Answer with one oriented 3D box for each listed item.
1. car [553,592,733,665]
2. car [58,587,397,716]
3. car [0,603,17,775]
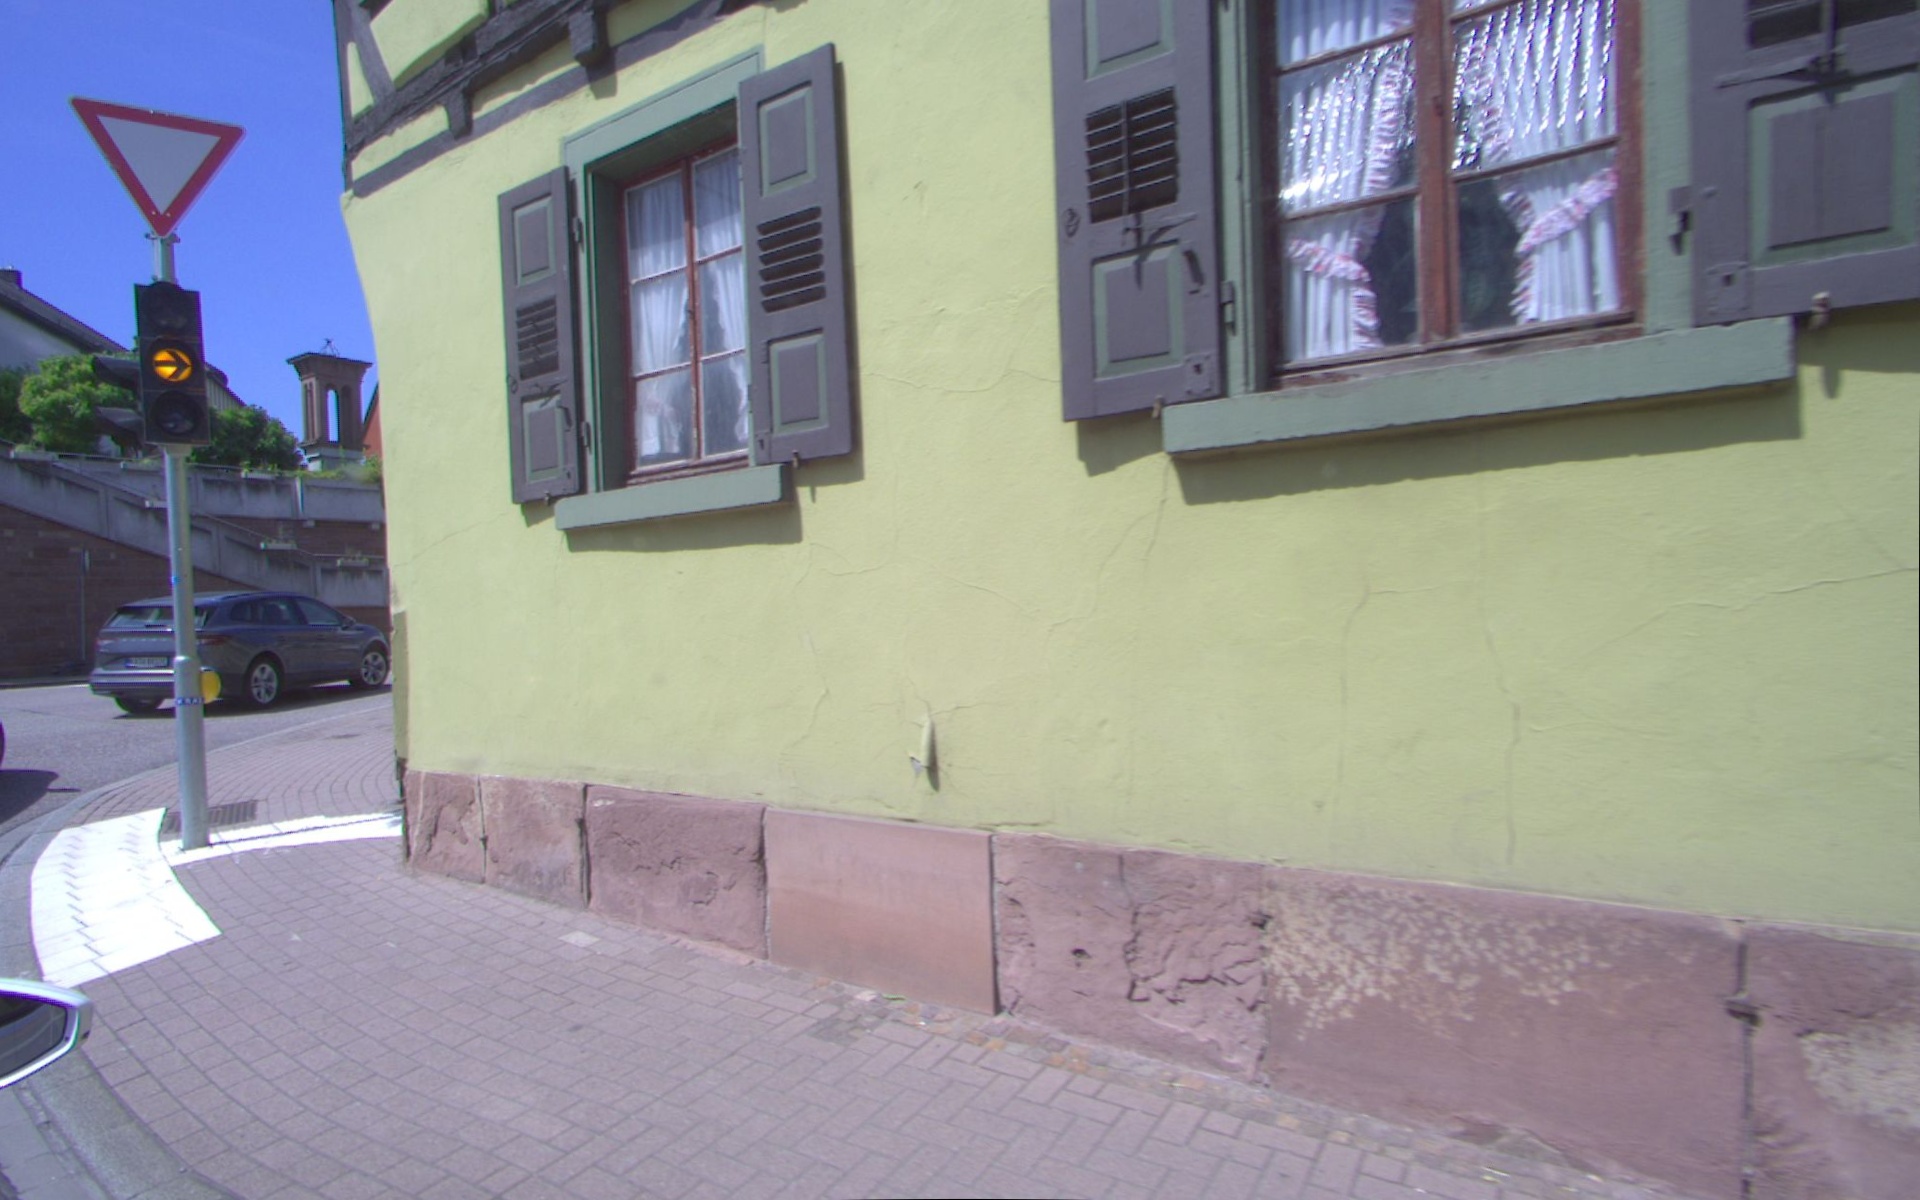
[{"bbox_3d":[-6.950,0.580,22.377,1.758,1.477,3.852,-1,0,22],"label":"car"},{"bbox_3d":[-10.466,0.647,14.820,1.917,1.603,4.325,-1,0,-2],"label":"car"},{"bbox_3d":[-8.305,0.765,6.926,1.763,1.477,3.842,-1,0,-31],"label":"car"}]
